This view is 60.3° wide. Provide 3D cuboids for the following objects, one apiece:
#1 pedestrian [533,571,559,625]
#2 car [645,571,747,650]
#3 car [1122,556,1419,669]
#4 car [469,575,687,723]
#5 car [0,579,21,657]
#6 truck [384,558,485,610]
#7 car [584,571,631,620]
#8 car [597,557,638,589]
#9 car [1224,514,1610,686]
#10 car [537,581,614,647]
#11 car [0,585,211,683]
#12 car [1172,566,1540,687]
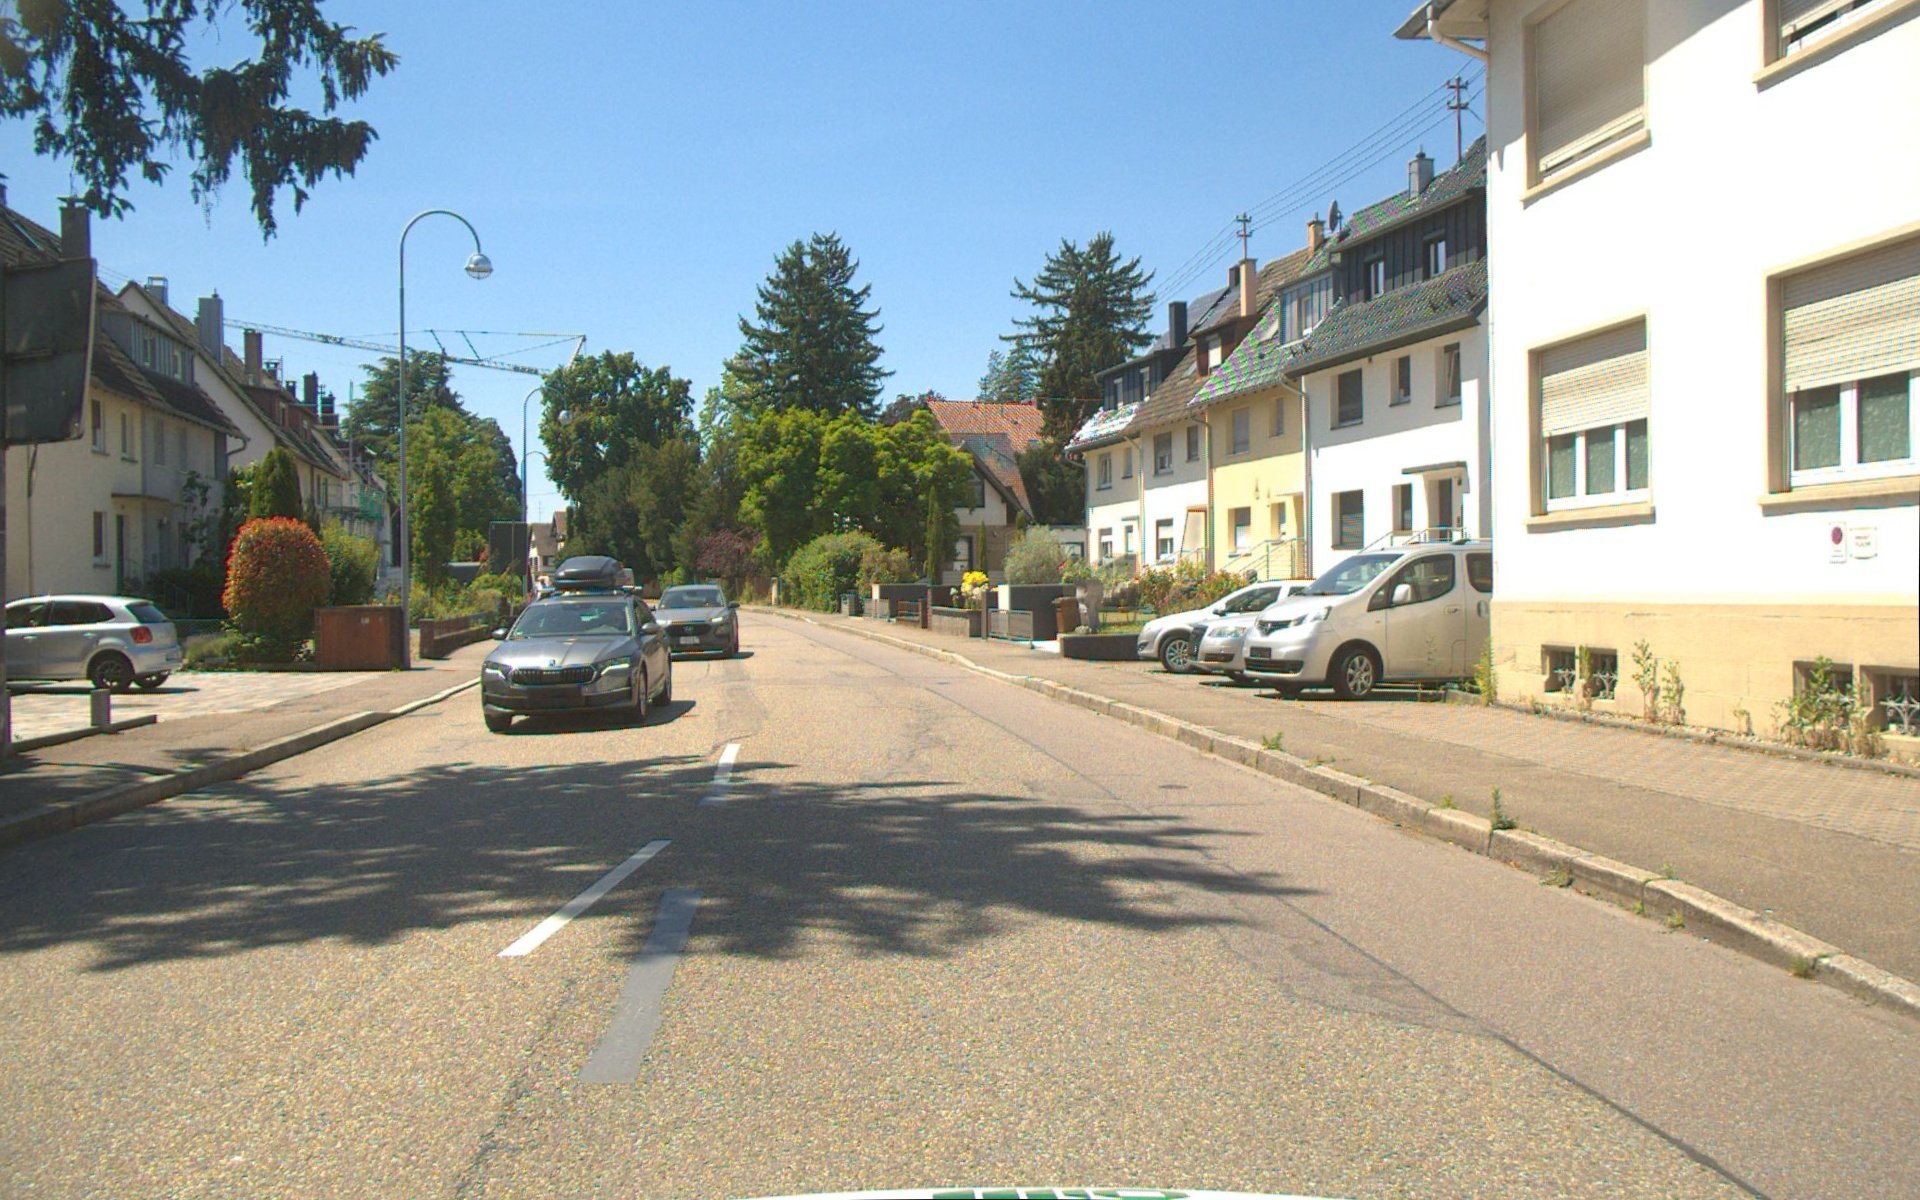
[{"bbox_3d":[-15.310,-0.066,61.179,0.676,1.922,1.017,4,-1,-7],"label":"pedestrian"},{"bbox_3d":[-5.684,0.183,36.016,1.706,1.531,4.140,-3,1,-3],"label":"car"},{"bbox_3d":[4.799,0.175,25.577,4.204,1.575,1.755,1,-1,24],"label":"car"},{"bbox_3d":[-4.457,0.496,19.947,1.770,1.514,4.384,-2,1,-3],"label":"car"},{"bbox_3d":[-21.493,0.372,33.729,3.717,1.563,1.643,0,1,-12],"label":"car"},{"bbox_3d":[-21.122,-0.645,66.581,3.704,1.971,1.541,-2,1,-14],"label":"truck"},{"bbox_3d":[-13.997,-0.201,65.754,1.693,1.766,3.875,-3,1,-12],"label":"car"},{"bbox_3d":[-26.173,-2.043,126.180,2.115,2.355,4.819,-3,2,-23],"label":"car"},{"bbox_3d":[5.533,0.019,20.112,4.221,1.863,1.731,2,0,-17],"label":"car"},{"bbox_3d":[-9.520,0.314,41.155,1.550,1.448,3.932,-3,1,-10],"label":"car"},{"bbox_3d":[-14.230,0.505,25.652,4.381,1.466,1.845,0,0,-5],"label":"car"},{"bbox_3d":[5.349,0.343,22.613,4.552,1.433,1.766,2,0,-7],"label":"car"}]
